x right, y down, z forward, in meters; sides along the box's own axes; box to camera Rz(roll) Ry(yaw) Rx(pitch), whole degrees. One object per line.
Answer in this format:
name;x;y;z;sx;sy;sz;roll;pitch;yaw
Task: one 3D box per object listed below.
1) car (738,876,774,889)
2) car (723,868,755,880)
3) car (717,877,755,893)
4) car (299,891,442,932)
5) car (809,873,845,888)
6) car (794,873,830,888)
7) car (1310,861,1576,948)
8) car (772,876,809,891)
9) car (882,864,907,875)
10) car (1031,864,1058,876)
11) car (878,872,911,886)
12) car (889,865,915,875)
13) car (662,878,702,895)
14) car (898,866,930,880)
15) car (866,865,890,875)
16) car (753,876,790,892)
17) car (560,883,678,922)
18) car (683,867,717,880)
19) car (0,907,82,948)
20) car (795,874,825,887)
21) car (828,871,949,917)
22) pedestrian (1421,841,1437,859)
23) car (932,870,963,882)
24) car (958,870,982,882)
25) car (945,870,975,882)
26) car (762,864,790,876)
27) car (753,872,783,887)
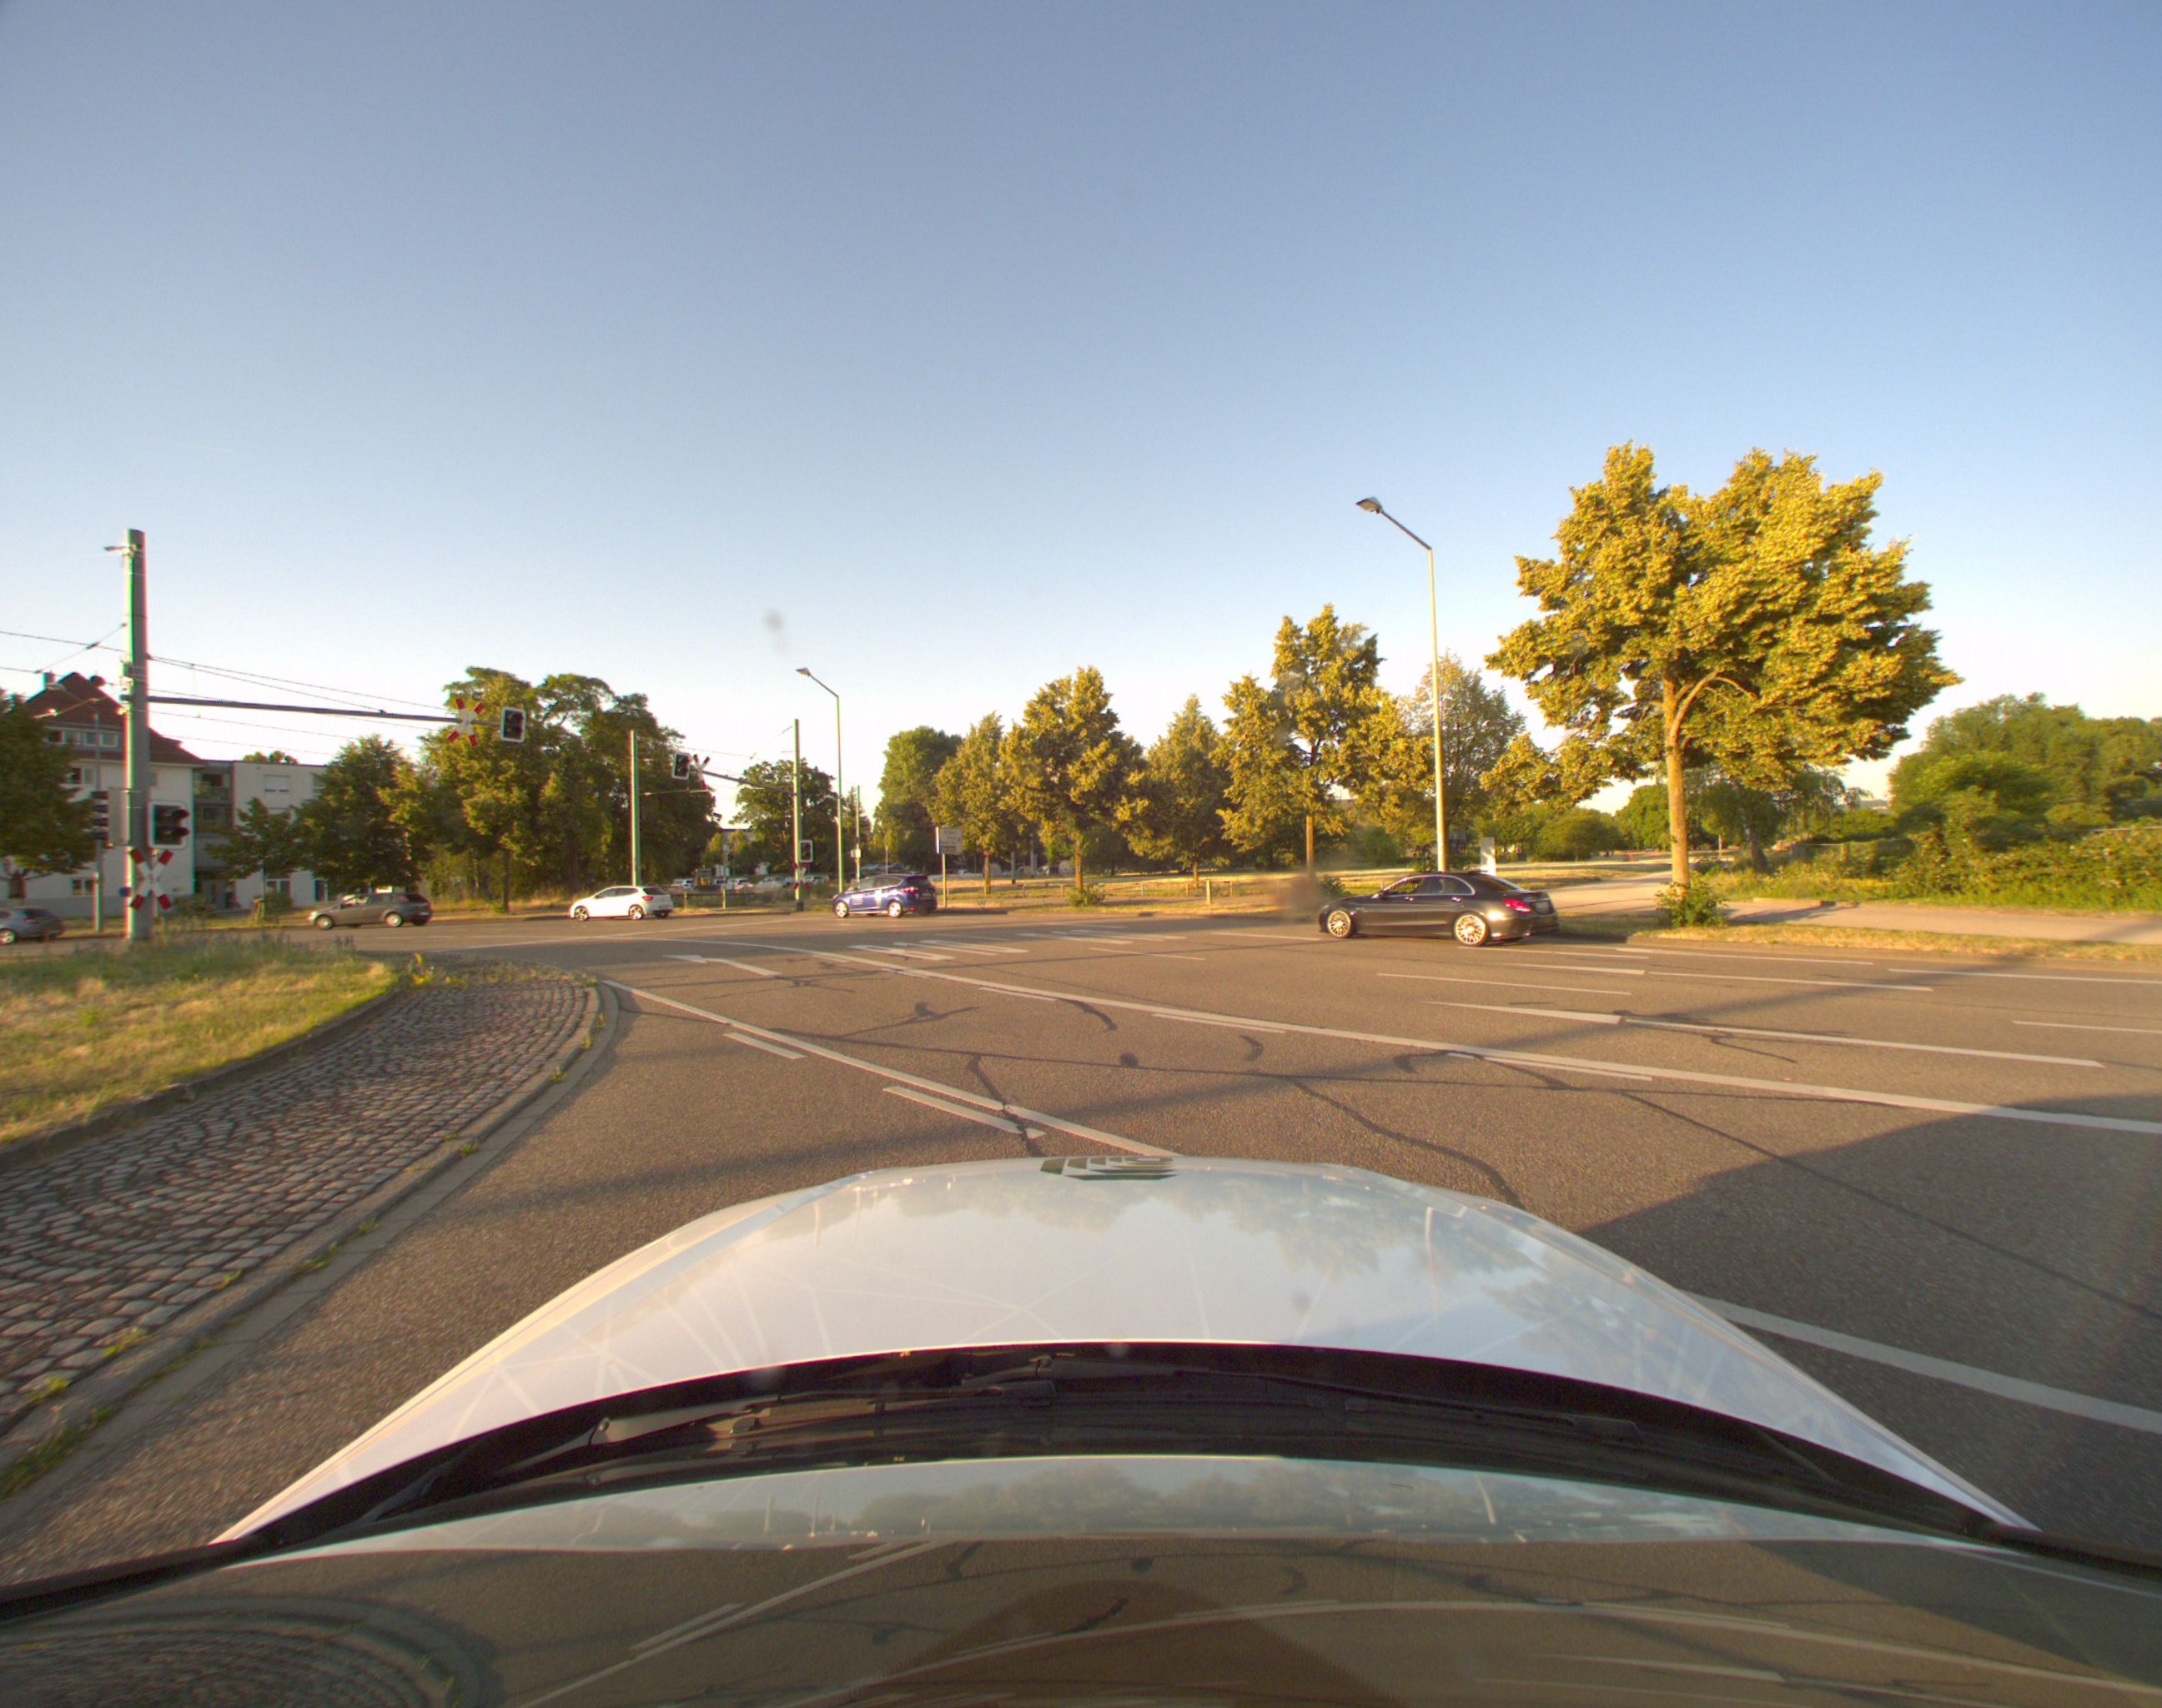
car;-43.420;3.807;108.742;1.878;1.662;4.025;-2;-1;38
car;-58.389;3.404;139.047;1.974;2.014;4.628;-2;-1;37
car;-36.864;3.322;86.963;3.948;1.604;2.013;-2;-1;36
car;-29.487;2.368;33.915;4.144;1.454;1.864;-2;-1;-6
car;-30.235;3.150;96.875;3.948;1.604;2.013;-2;-1;36
car;-31.353;3.128;94.721;3.948;1.604;2.013;-2;-1;36
car;7.215;0.951;16.672;2.010;1.505;4.567;1;-2;-39
car;-33.202;3.379;93.005;3.948;1.604;2.013;-2;-1;36
car;-34.269;2.822;149.449;1.975;2.014;4.024;-2;-1;44
car;-5.142;2.283;113.921;1.747;1.618;3.955;-1;-1;-37
car;-24.070;3.218;105.104;3.948;1.604;2.013;-2;-1;36
car;-32.083;2.905;145.785;3.962;1.706;2.006;-2;-1;10
car;-40.596;3.293;82.836;3.948;1.604;2.013;-2;-1;36
car;-25.731;2.882;125.947;4.576;2.014;1.996;-2;-1;-6
car;-37.982;2.958;152.521;1.974;1.816;4.025;-2;-1;38
car;-34.785;3.370;91.434;3.948;1.604;2.013;-2;-1;36
car;-19.307;2.000;34.130;3.934;1.454;1.873;-2;-1;9
car;-62.362;3.222;133.414;1.974;2.014;4.627;-2;-1;33
car;-41.529;2.862;30.895;4.167;1.390;1.853;-1;-1;-24
car;-38.441;3.711;115.474;3.999;1.662;1.890;-2;-1;-19
car;-7.245;1.486;30.600;4.128;1.583;1.927;-1;-1;27
pedestrian;32.089;-0.375;75.111;1.064;1.618;0.912;-2;-1;6
car;-18.655;3.098;113.776;3.948;1.604;2.013;-2;-1;36
car;-17.655;3.408;128.962;2.008;1.752;4.550;-1;0;-33
car;-17.139;3.163;115.434;3.948;1.604;2.013;-2;-1;36
car;-54.258;2.854;144.833;1.974;2.014;4.142;-2;-1;37
car;-45.513;3.645;118.457;4.004;2.014;1.985;-1;-1;-23
